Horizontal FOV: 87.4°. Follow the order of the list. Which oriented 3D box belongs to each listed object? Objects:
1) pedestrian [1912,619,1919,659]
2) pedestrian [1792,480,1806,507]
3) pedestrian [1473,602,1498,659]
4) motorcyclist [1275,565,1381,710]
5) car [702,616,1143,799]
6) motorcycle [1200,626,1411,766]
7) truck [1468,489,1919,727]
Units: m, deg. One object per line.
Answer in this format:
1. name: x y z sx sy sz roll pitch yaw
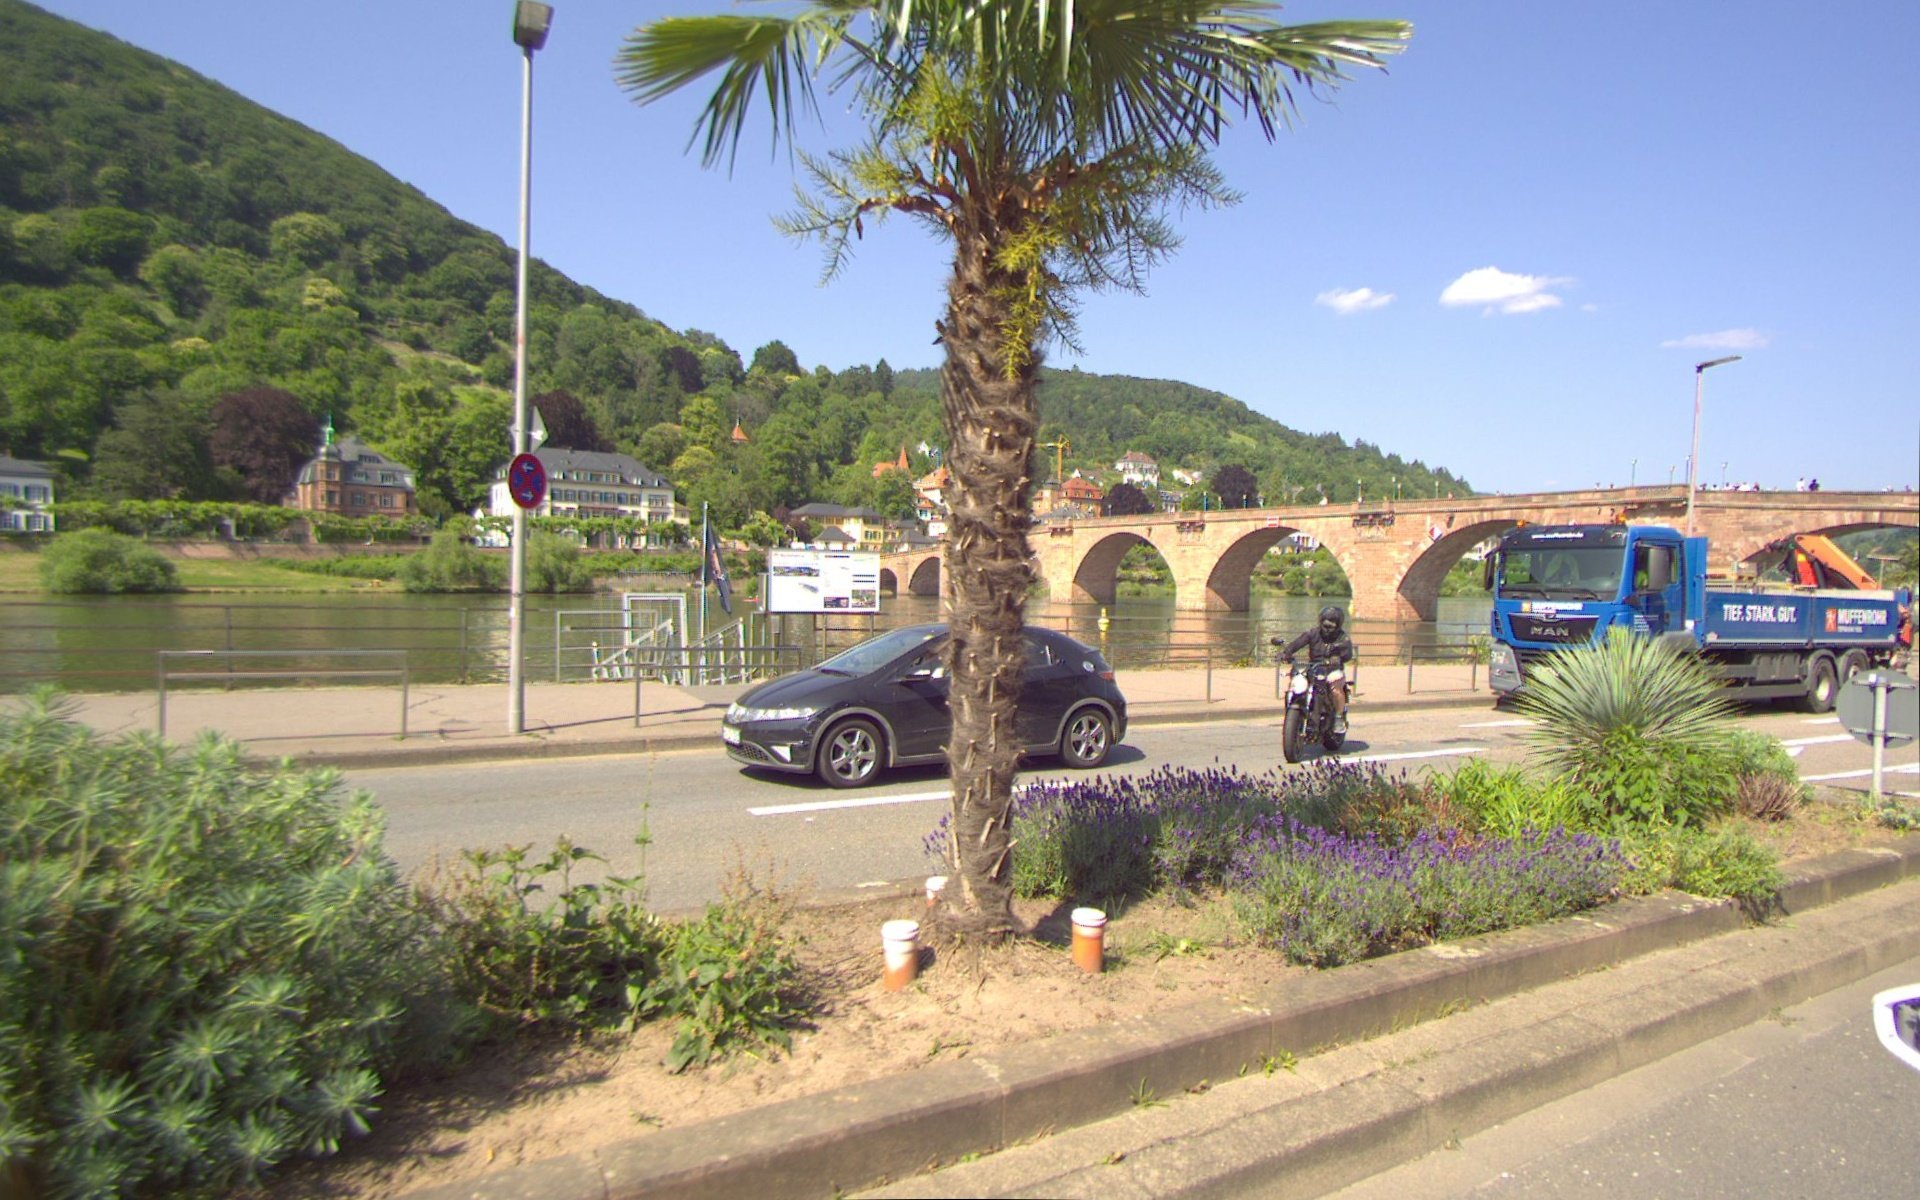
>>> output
1. pedestrian: 41.223 1.669 42.673 0.780 1.714 0.846 2 1 19
2. pedestrian: 65.339 -8.295 78.190 0.620 2.040 0.688 1 0 -37
3. pedestrian: 14.179 0.832 27.098 0.409 1.505 0.348 1 3 -28
4. motorcyclist: 4.095 0.403 11.184 0.850 1.547 0.699 1 0 -28
5. car: -0.321 0.943 9.916 4.031 1.455 1.650 2 0 -29
6. motorcycle: 3.876 1.012 11.187 2.480 1.405 0.723 1 0 -29
7. truck: 14.134 0.208 18.743 10.973 3.523 2.630 1 0 -29
